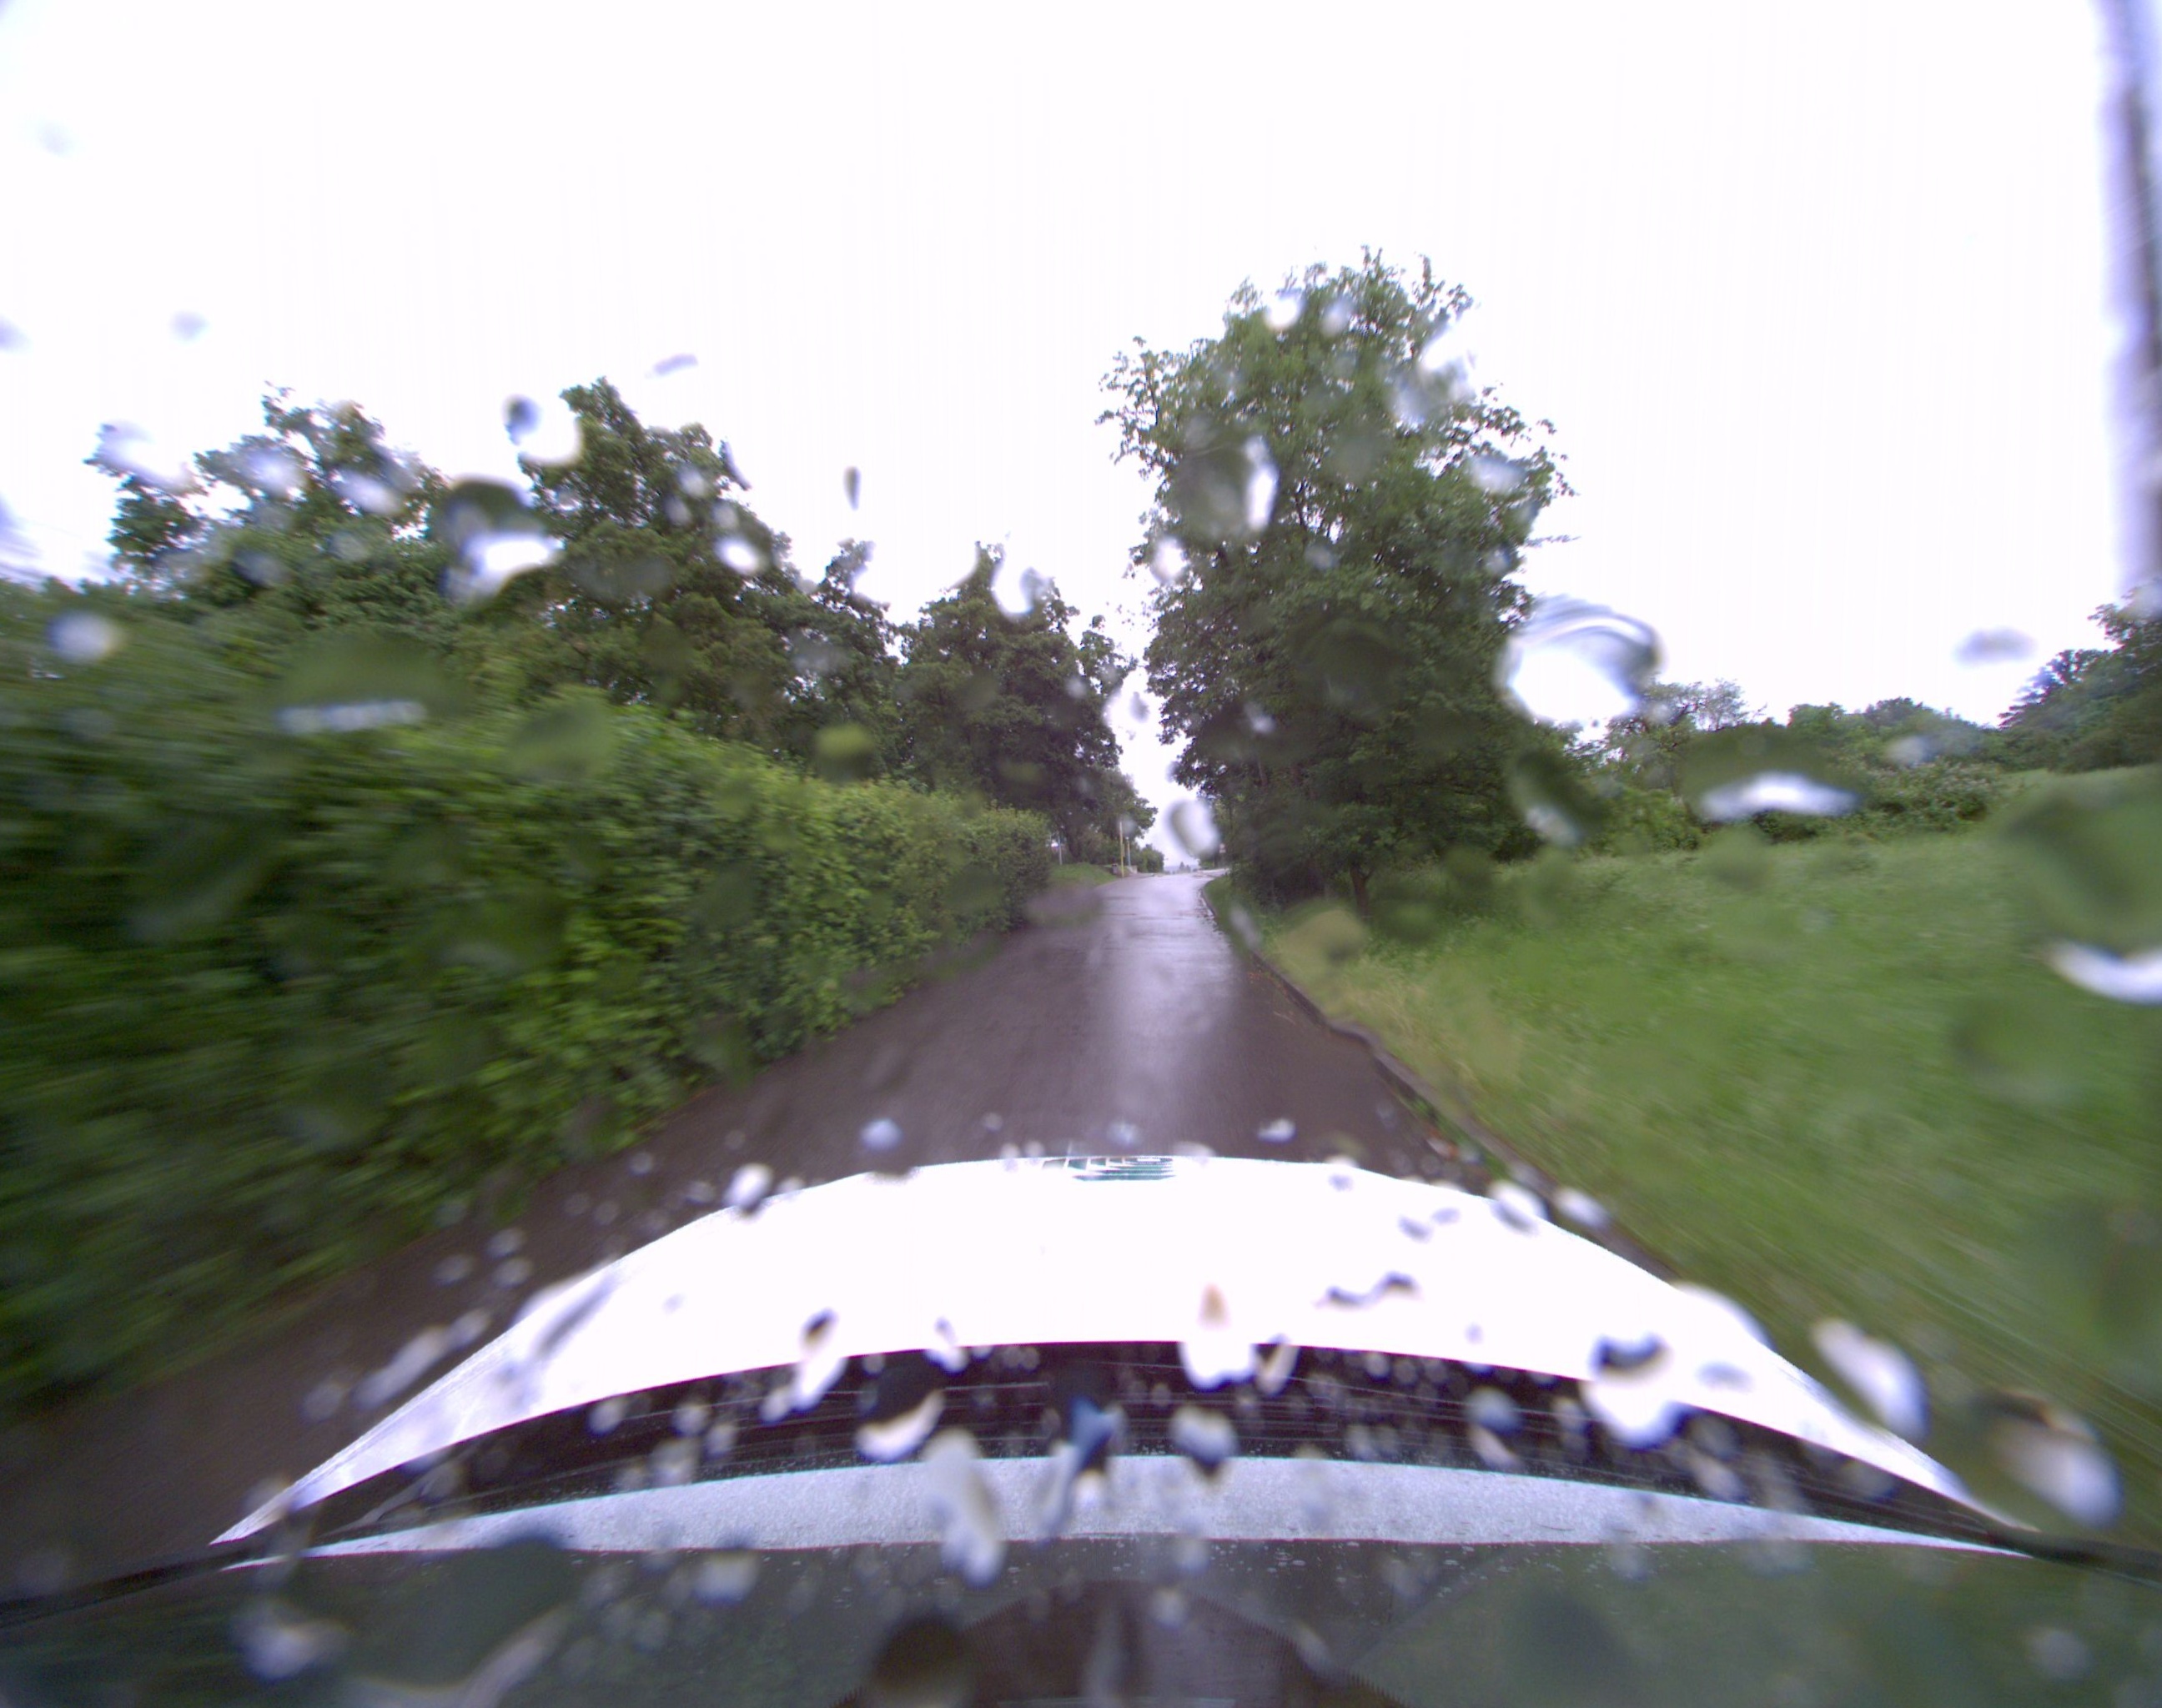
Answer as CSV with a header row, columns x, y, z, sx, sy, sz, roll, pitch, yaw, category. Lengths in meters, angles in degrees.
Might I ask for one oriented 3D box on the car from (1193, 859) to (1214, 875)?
x,y,z,sx,sy,sz,roll,pitch,yaw,category
14.337,1.498,94.930,1.980,1.583,4.013,-3,-4,13,car
